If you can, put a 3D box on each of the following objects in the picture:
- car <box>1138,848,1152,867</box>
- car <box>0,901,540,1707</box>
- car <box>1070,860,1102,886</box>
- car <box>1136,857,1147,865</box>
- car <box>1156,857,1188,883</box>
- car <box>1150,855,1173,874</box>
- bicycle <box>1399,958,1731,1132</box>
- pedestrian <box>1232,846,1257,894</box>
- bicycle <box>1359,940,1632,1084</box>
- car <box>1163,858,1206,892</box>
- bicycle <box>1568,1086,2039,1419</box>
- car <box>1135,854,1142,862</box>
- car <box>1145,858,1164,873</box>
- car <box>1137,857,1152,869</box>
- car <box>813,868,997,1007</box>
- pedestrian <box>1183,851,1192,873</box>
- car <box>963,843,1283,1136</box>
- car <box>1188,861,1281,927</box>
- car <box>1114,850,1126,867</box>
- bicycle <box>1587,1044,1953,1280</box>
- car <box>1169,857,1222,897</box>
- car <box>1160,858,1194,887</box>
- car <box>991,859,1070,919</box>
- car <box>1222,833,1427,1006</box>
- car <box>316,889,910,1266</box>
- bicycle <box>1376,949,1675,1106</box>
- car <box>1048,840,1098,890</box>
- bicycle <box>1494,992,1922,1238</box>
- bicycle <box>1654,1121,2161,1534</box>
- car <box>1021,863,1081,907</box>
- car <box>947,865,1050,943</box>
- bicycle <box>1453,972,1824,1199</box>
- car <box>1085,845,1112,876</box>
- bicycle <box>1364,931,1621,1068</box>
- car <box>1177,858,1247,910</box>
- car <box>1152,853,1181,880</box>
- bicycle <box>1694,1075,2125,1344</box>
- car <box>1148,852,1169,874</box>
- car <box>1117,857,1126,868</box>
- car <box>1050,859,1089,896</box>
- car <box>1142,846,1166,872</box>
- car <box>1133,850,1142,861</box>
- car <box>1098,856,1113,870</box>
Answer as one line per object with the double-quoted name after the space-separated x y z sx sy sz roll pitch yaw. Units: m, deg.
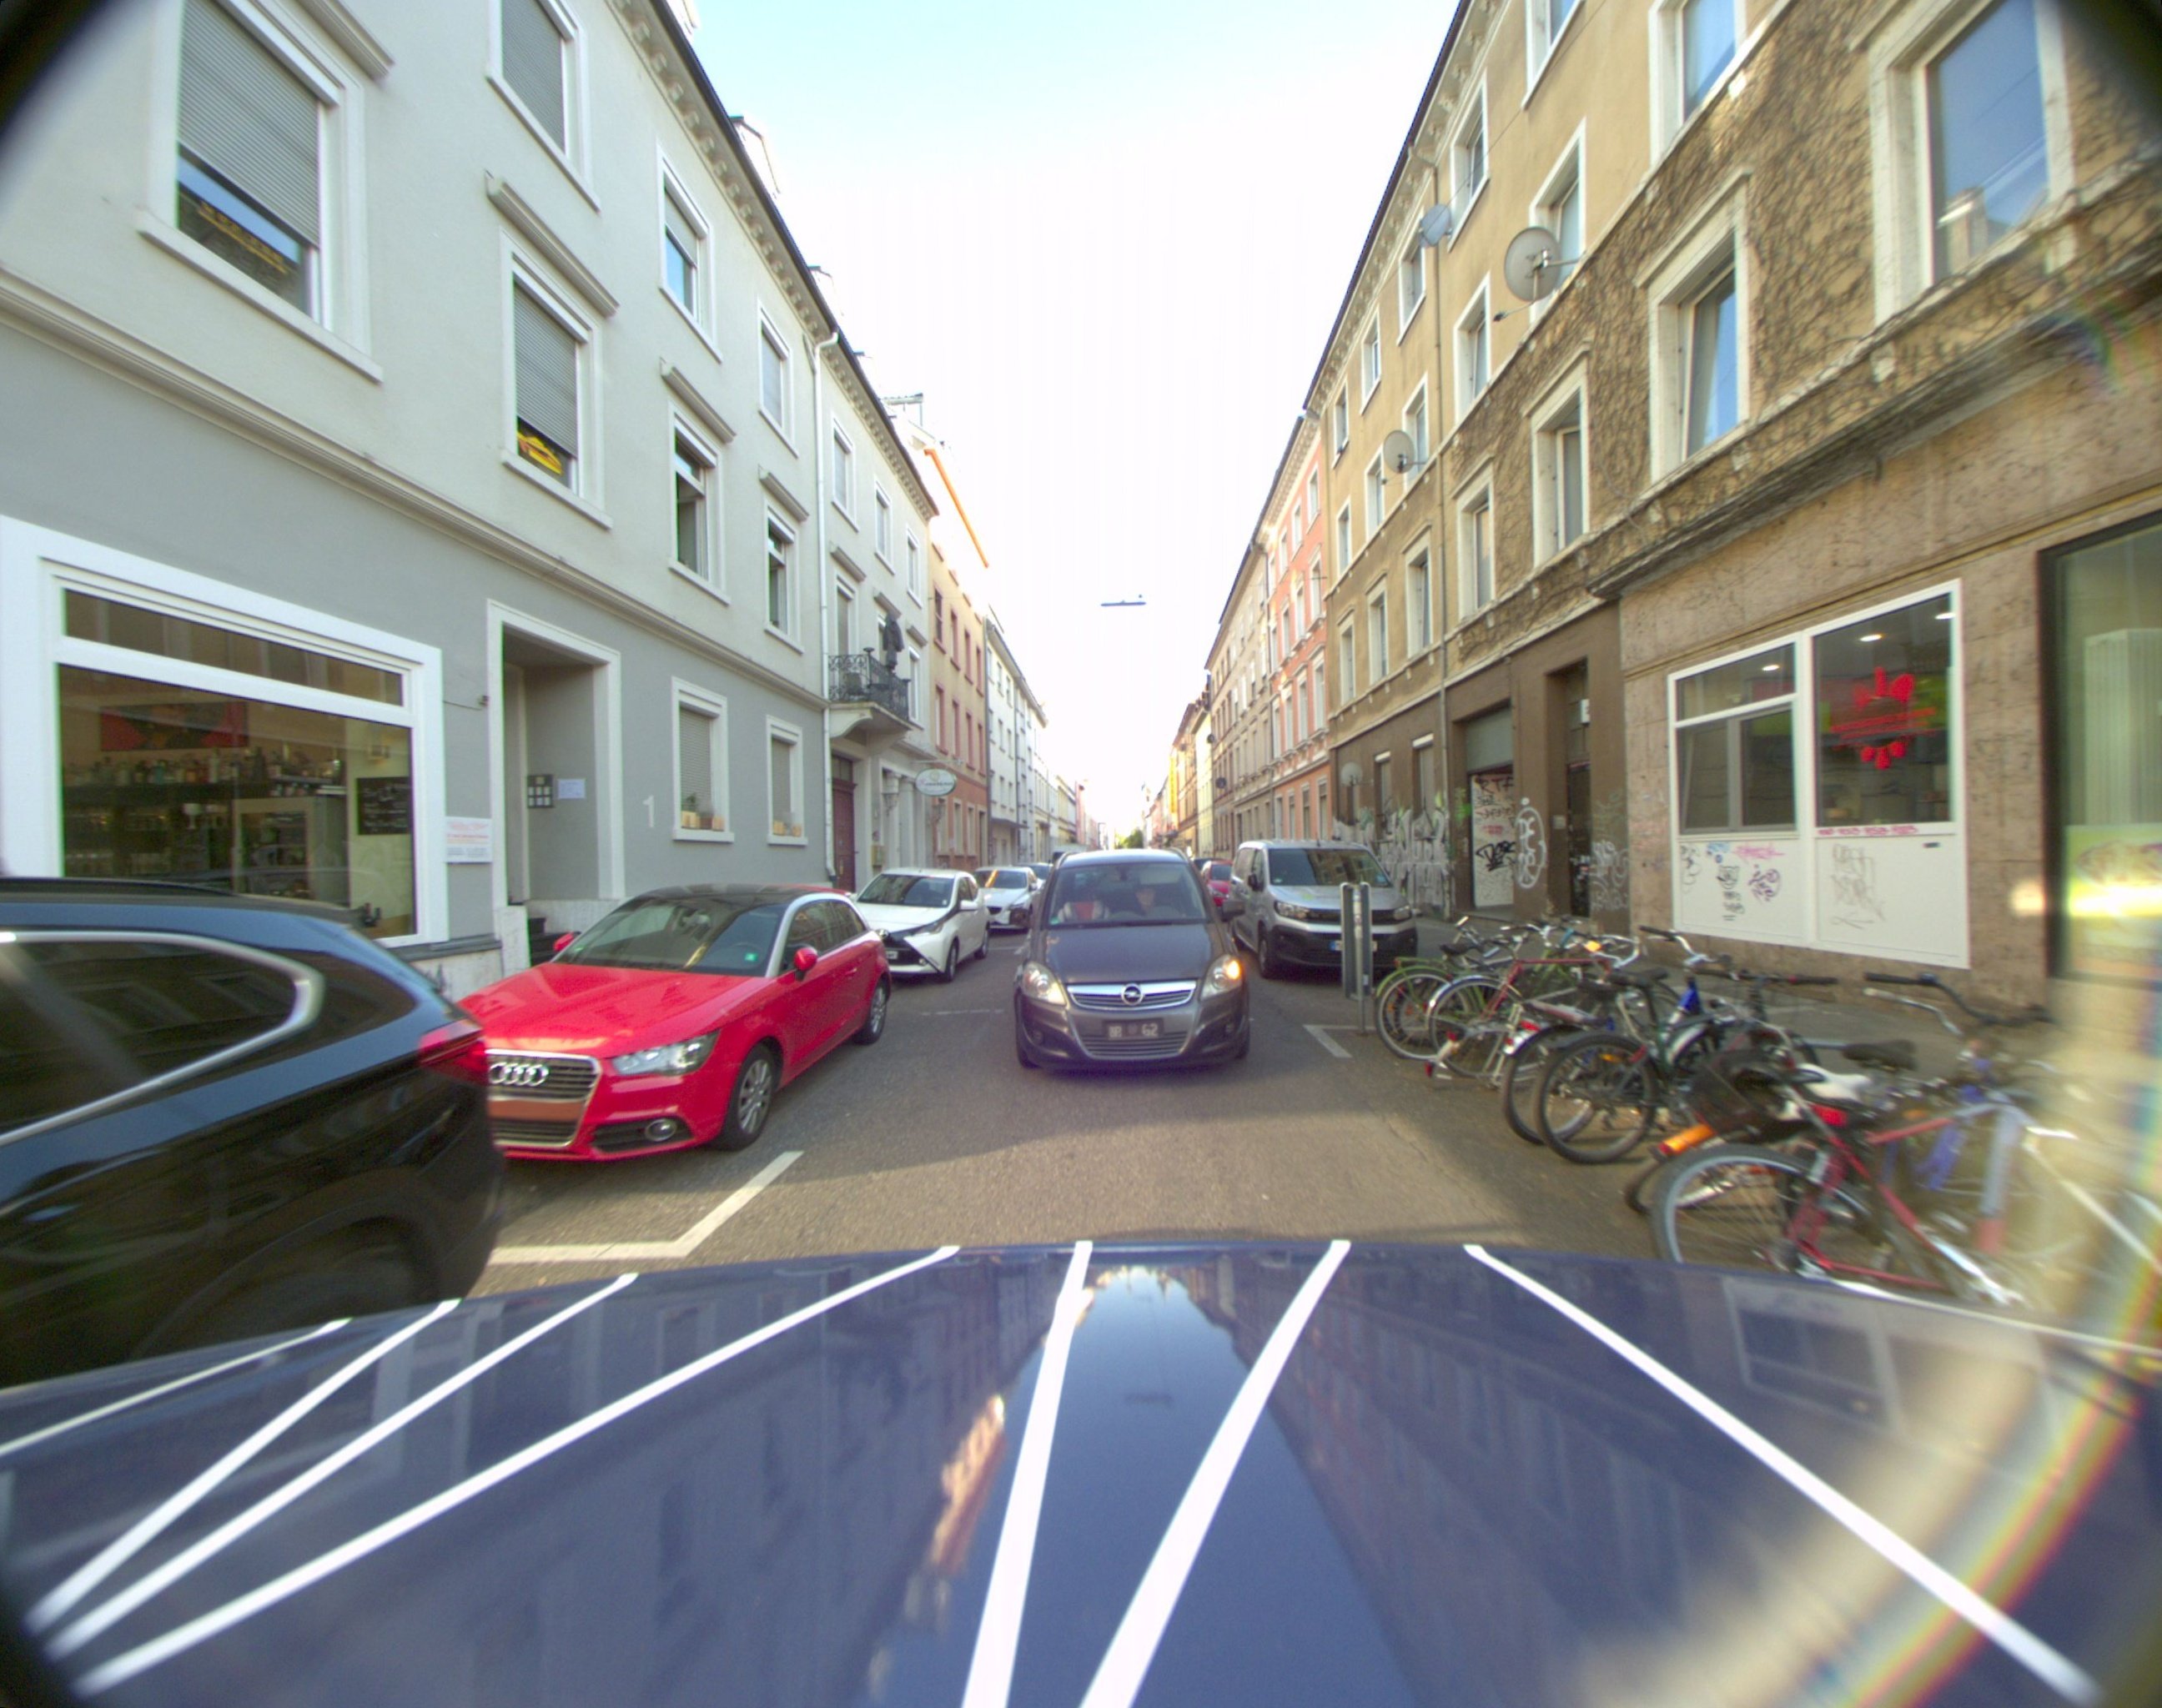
8.514 0.473 100.985 1.683 2.352 4.099 -2 0 4 "car"
-2.637 1.008 0.229 1.764 1.652 4.198 -3 0 2 "car"
0.362 1.163 48.099 1.683 1.434 3.861 -3 0 4 "car"
9.977 1.159 126.165 1.683 1.381 3.861 -2 0 4 "car"
5.508 0.930 46.336 1.683 1.454 3.861 -2 0 4 "car"
6.518 0.841 61.670 1.683 1.407 3.861 -2 0 4 "car"
2.996 1.183 4.789 1.769 0.956 0.443 -2 0 2 "bicycle"
6.366 0.630 29.594 0.790 1.820 0.594 -3 0 4 "pedestrian"
3.040 1.158 5.647 1.769 0.956 0.405 -2 0 2 "bicycle"
4.802 0.945 35.830 1.683 1.454 4.314 -2 0 4 "car"
2.360 1.265 2.515 1.312 0.813 0.355 -1 0 -6 "bicycle"
15.234 0.992 199.968 1.683 1.851 4.160 -3 0 3 "car"
7.125 1.088 73.657 1.683 1.381 3.861 -2 0 4 "car"
7.866 1.087 94.027 1.683 1.381 3.861 -2 0 4 "car"
-2.368 1.061 11.219 1.640 1.577 3.789 -3 0 2 "car"
9.094 0.655 65.129 0.626 1.820 0.595 -3 0 4 "pedestrian"
0.373 0.816 7.081 1.798 1.652 5.185 -3 0 3 "car"
3.825 0.927 19.533 1.683 1.465 4.204 0 0 2 "car"
8.508 1.011 165.069 2.436 3.404 5.544 -3 0 3 "car"
2.916 1.277 3.247 1.312 0.813 0.381 1 0 -6 "bicycle"
4.606 0.903 31.043 1.683 1.483 3.612 -2 0 1 "car"
5.196 0.969 40.805 1.682 1.454 3.862 -2 0 8 "car"
-1.471 1.022 23.702 1.682 1.588 4.192 -3 0 6 "car"
3.147 0.739 10.800 1.683 1.899 4.520 1 0 4 "car"
-2.598 1.121 5.461 1.649 1.494 3.955 -3 0 2 "car"
3.013 1.178 5.230 1.769 0.956 0.422 -2 0 2 "bicycle"
-0.368 0.577 43.100 2.049 2.498 6.026 -3 0 6 "car"
2.979 1.215 3.660 1.770 0.956 0.427 -1 0 -4 "bicycle"
2.374 1.260 2.133 1.312 0.813 0.371 -1 0 -6 "bicycle"
-1.026 1.076 28.305 1.771 1.386 4.495 -3 0 3 "car"
-1.793 1.066 17.813 1.683 1.501 4.191 -3 0 3 "car"
2.972 1.190 4.084 1.770 0.956 0.481 -1 0 -9 "bicycle"
1.618 0.574 69.514 2.049 2.662 6.187 -3 0 4 "car"
3.251 1.149 6.081 1.769 0.983 0.463 -2 0 3 "bicycle"
4.089 0.894 24.092 1.683 1.540 2.960 0 0 0 "car"
5.709 0.824 50.960 1.683 1.674 3.861 -2 0 4 "car"
3.151 1.319 2.916 1.391 0.813 0.361 1 0 -6 "bicycle"
6.936 0.783 68.379 1.751 1.880 4.773 -2 0 6 "car"
8.478 1.788 158.247 1.683 2.077 4.160 -3 0 3 "car"
-0.492 1.085 36.382 1.683 1.550 3.860 -3 0 1 "car"
7.608 0.504 79.682 2.093 2.576 5.844 -2 0 3 "car"
17.089 0.432 230.013 2.564 3.029 7.063 -3 0 3 "car"
3.134 1.129 96.805 1.683 1.588 3.861 -3 0 3 "car"
